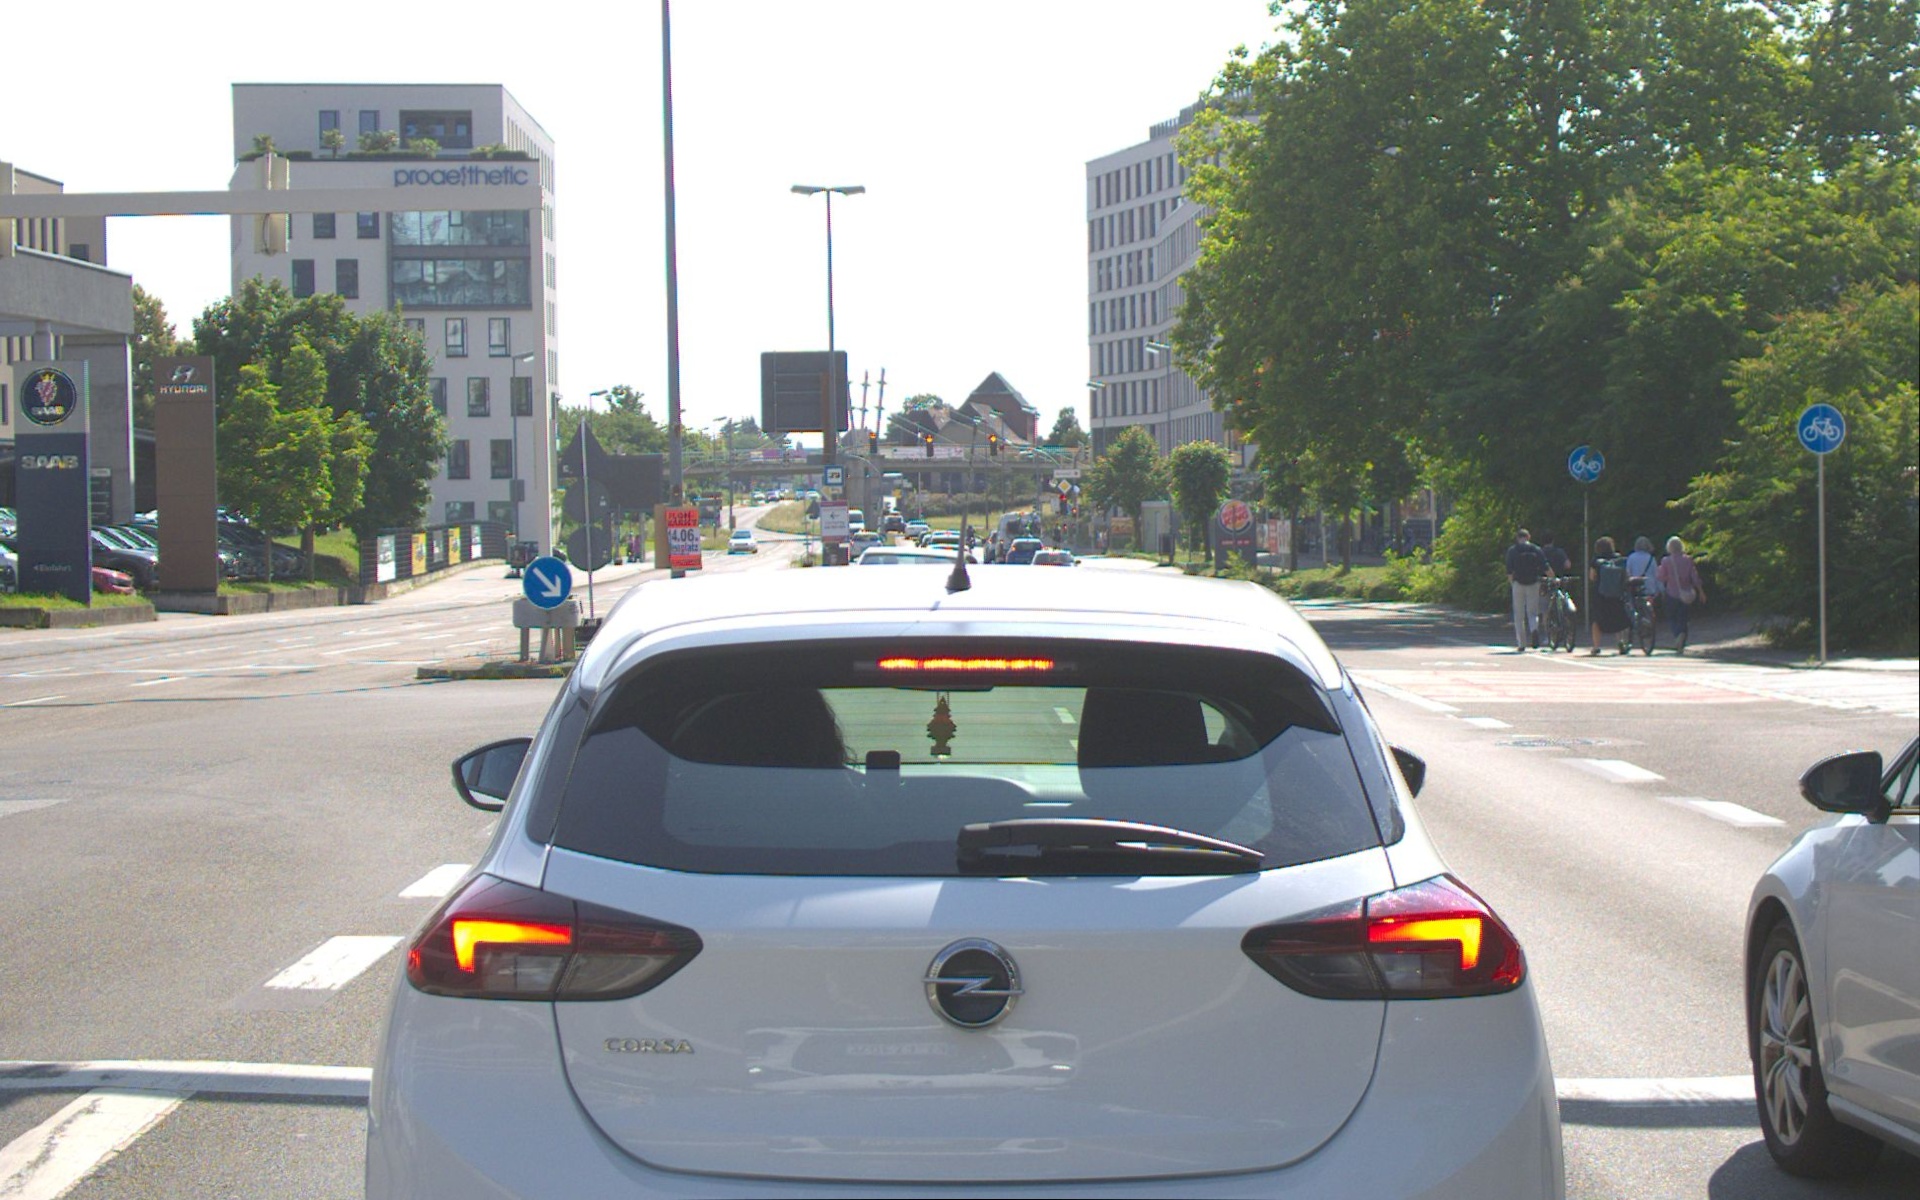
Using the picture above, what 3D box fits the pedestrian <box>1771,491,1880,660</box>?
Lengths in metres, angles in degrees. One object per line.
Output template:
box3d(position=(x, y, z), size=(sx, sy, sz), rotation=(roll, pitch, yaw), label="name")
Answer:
box3d(position=(10.469, -0.297, 41.611), size=(1.027, 2.007, 1.039), rotation=(-1, 1, -1), label="pedestrian")

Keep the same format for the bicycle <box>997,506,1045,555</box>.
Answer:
box3d(position=(2.738, -3.127, 155.573), size=(1.993, 2.150, 4.000), rotation=(-1, 1, -1), label="bicycle")

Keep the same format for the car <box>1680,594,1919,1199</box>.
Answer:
box3d(position=(2.849, 0.711, 6.852), size=(1.807, 1.424, 4.000), rotation=(-1, 1, -3), label="car")

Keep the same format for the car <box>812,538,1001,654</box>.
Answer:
box3d(position=(-0.605, -0.055, 42.201), size=(1.994, 1.327, 3.999), rotation=(1, 0, 3), label="car")

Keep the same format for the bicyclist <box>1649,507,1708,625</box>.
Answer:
box3d(position=(10.004, -0.474, 47.895), size=(0.652, 1.631, 0.659), rotation=(1, 0, 0), label="bicyclist")

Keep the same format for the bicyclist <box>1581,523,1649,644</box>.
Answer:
box3d(position=(8.996, -0.237, 47.230), size=(0.688, 1.637, 0.777), rotation=(-1, 1, -9), label="bicyclist")

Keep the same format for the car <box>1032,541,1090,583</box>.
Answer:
box3d(position=(3.419, -1.274, 117.090), size=(1.806, 1.381, 4.000), rotation=(1, 0, -1), label="car")

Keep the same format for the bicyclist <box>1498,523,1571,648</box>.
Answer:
box3d(position=(8.204, -0.212, 49.120), size=(0.879, 1.766, 0.864), rotation=(-1, 1, 0), label="bicyclist")

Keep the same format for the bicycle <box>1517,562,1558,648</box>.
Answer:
box3d(position=(8.243, 0.064, 49.102), size=(0.372, 1.212, 1.154), rotation=(1, 1, -1), label="bicycle")

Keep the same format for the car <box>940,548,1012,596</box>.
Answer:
box3d(position=(0.467, -0.832, 103.207), size=(1.806, 1.381, 4.001), rotation=(1, 0, -5), label="car")

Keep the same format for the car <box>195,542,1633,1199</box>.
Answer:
box3d(position=(-0.079, 0.651, 6.282), size=(1.779, 1.489, 4.000), rotation=(-1, 1, -1), label="car")

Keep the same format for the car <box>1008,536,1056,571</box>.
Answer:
box3d(position=(2.914, -1.877, 139.495), size=(1.806, 1.381, 4.000), rotation=(1, 0, -1), label="car")

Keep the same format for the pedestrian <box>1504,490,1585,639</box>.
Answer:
box3d(position=(8.894, -0.544, 52.361), size=(1.027, 2.231, 1.039), rotation=(-1, 1, -1), label="pedestrian")

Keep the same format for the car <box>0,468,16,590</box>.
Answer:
box3d(position=(-22.559, -1.483, 73.039), size=(4.357, 2.592, 2.000), rotation=(-1, 1, 5), label="car")

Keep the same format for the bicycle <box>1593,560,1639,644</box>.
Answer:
box3d(position=(8.996, 0.026, 47.171), size=(0.373, 1.143, 1.034), rotation=(1, 0, -3), label="bicycle")
